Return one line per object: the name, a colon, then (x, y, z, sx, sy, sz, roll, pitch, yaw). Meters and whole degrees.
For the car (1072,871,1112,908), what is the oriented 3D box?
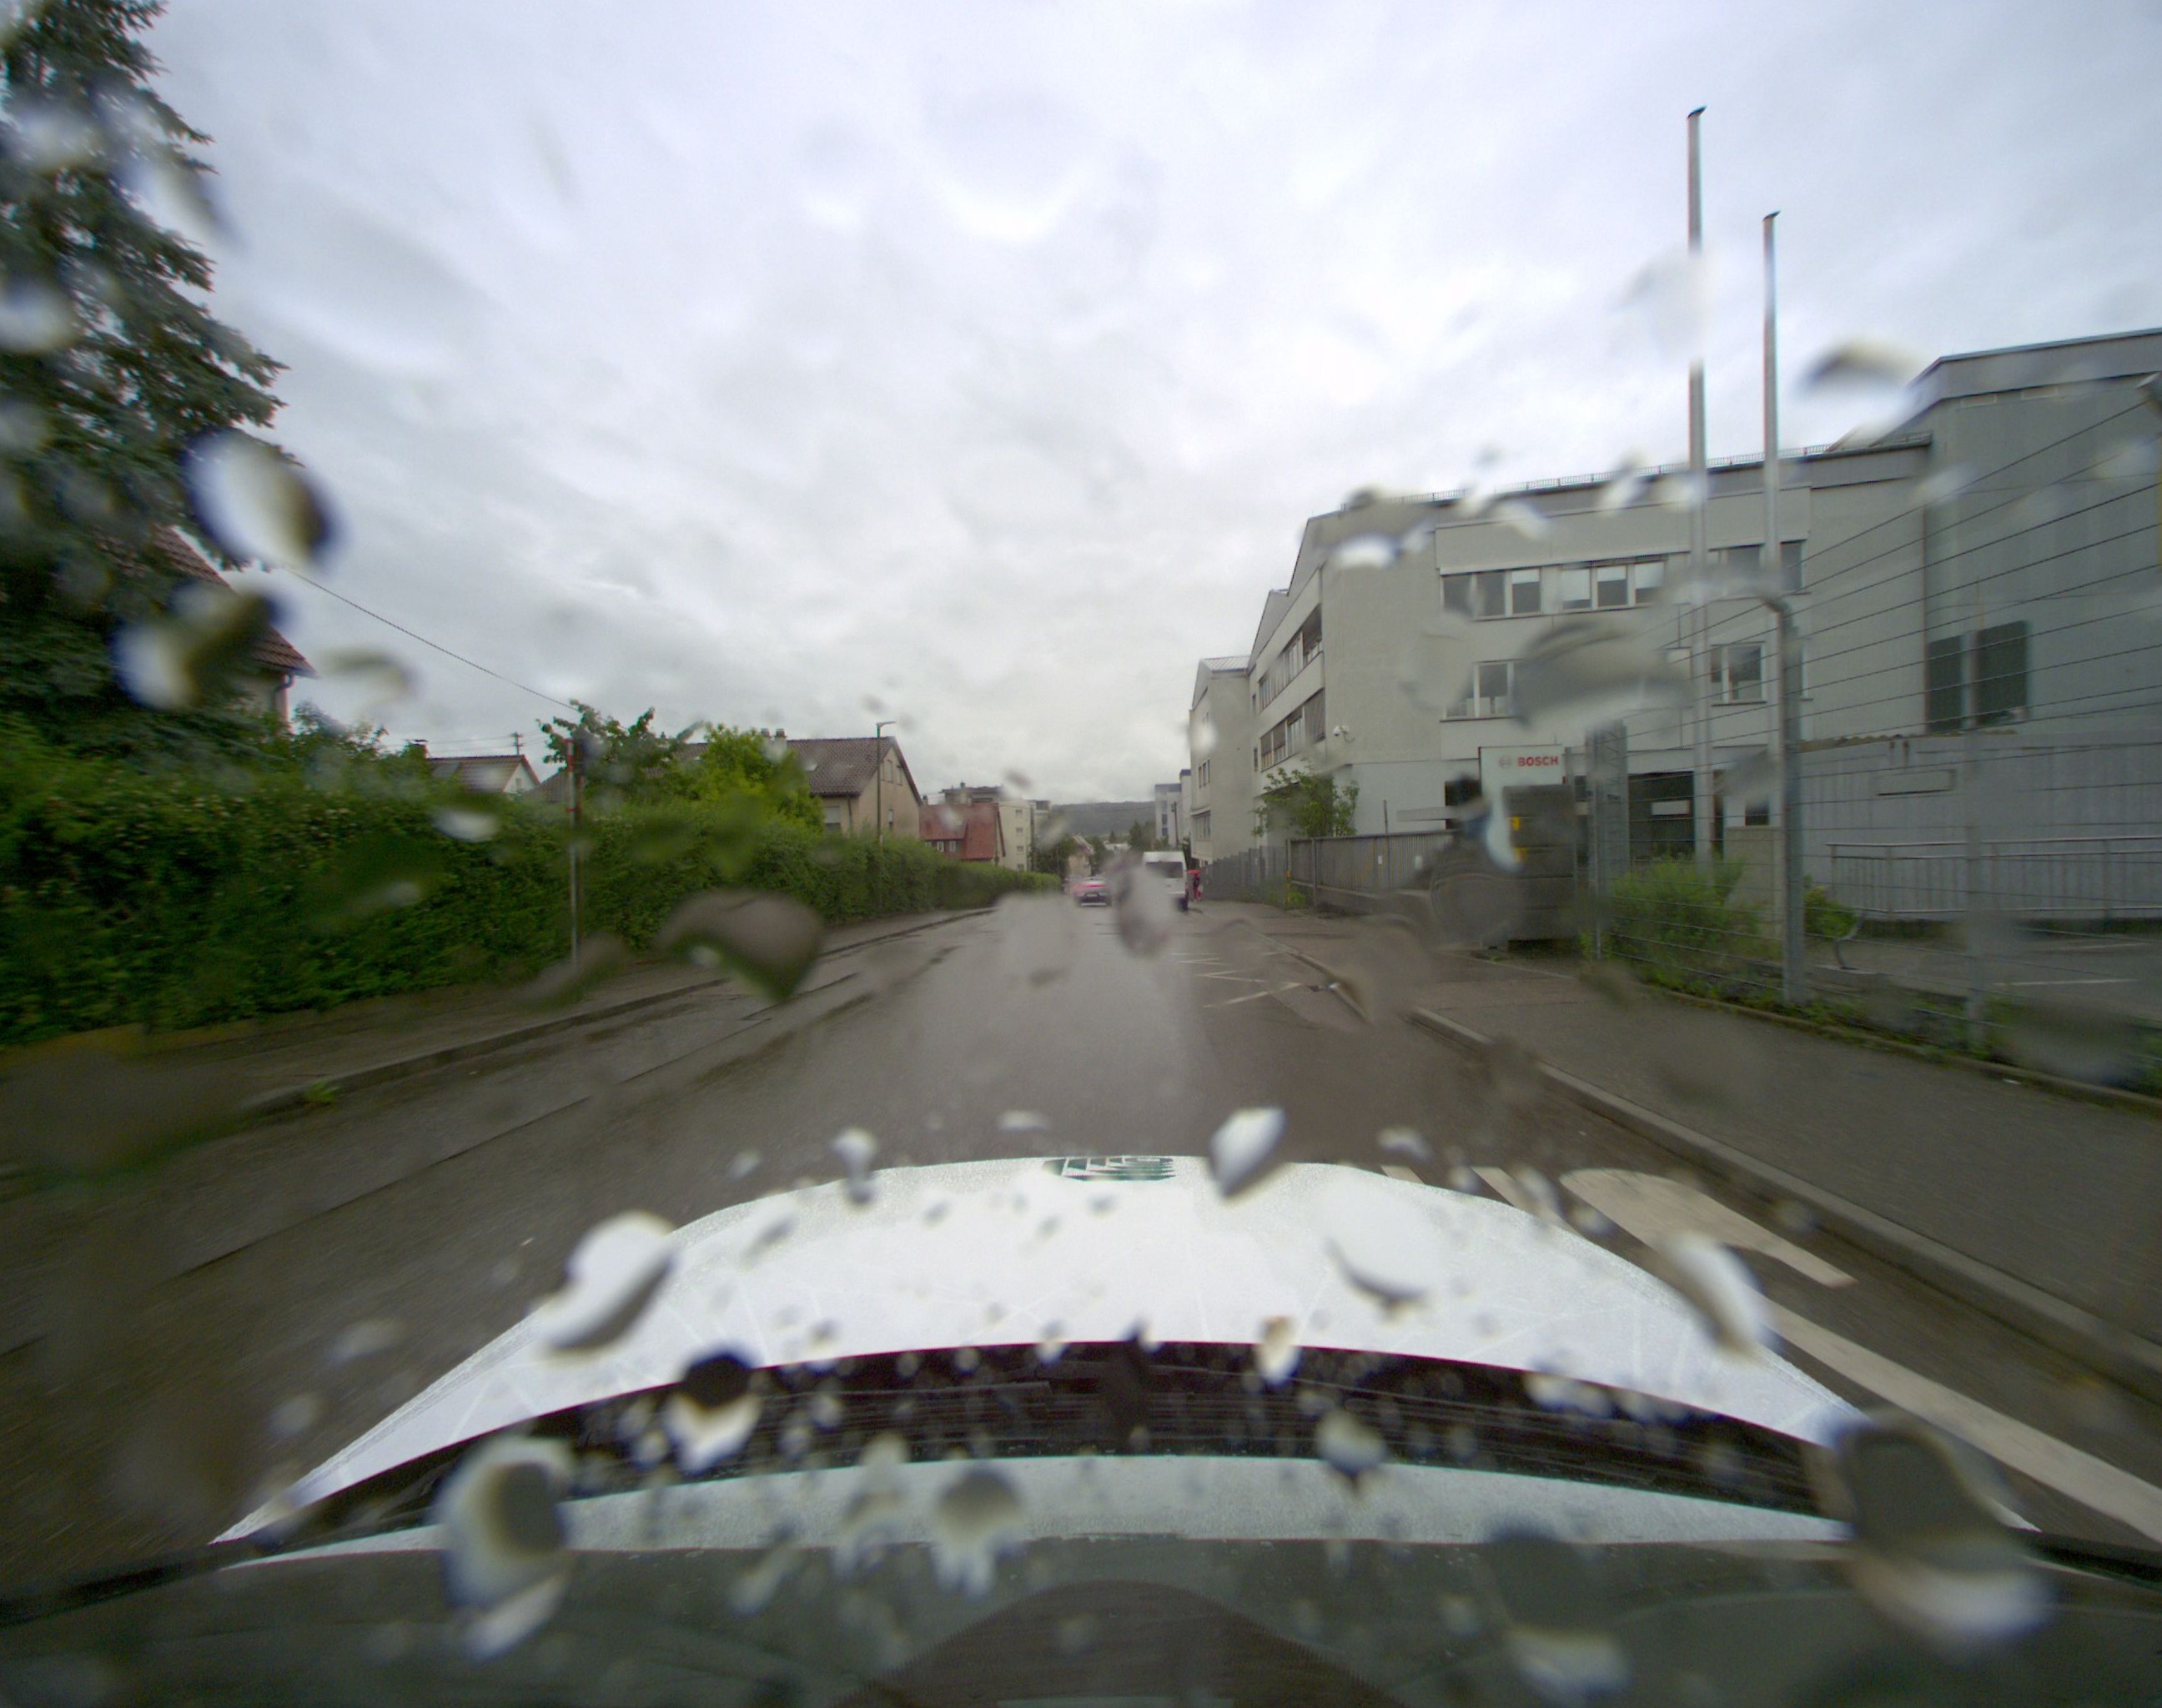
car: (0.624, 1.845, 43.509, 1.986, 1.502, 4.673, -1, 2, 2)

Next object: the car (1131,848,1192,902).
car: (3.258, 0.878, 33.720, 1.987, 2.014, 3.998, -3, -2, -1)
